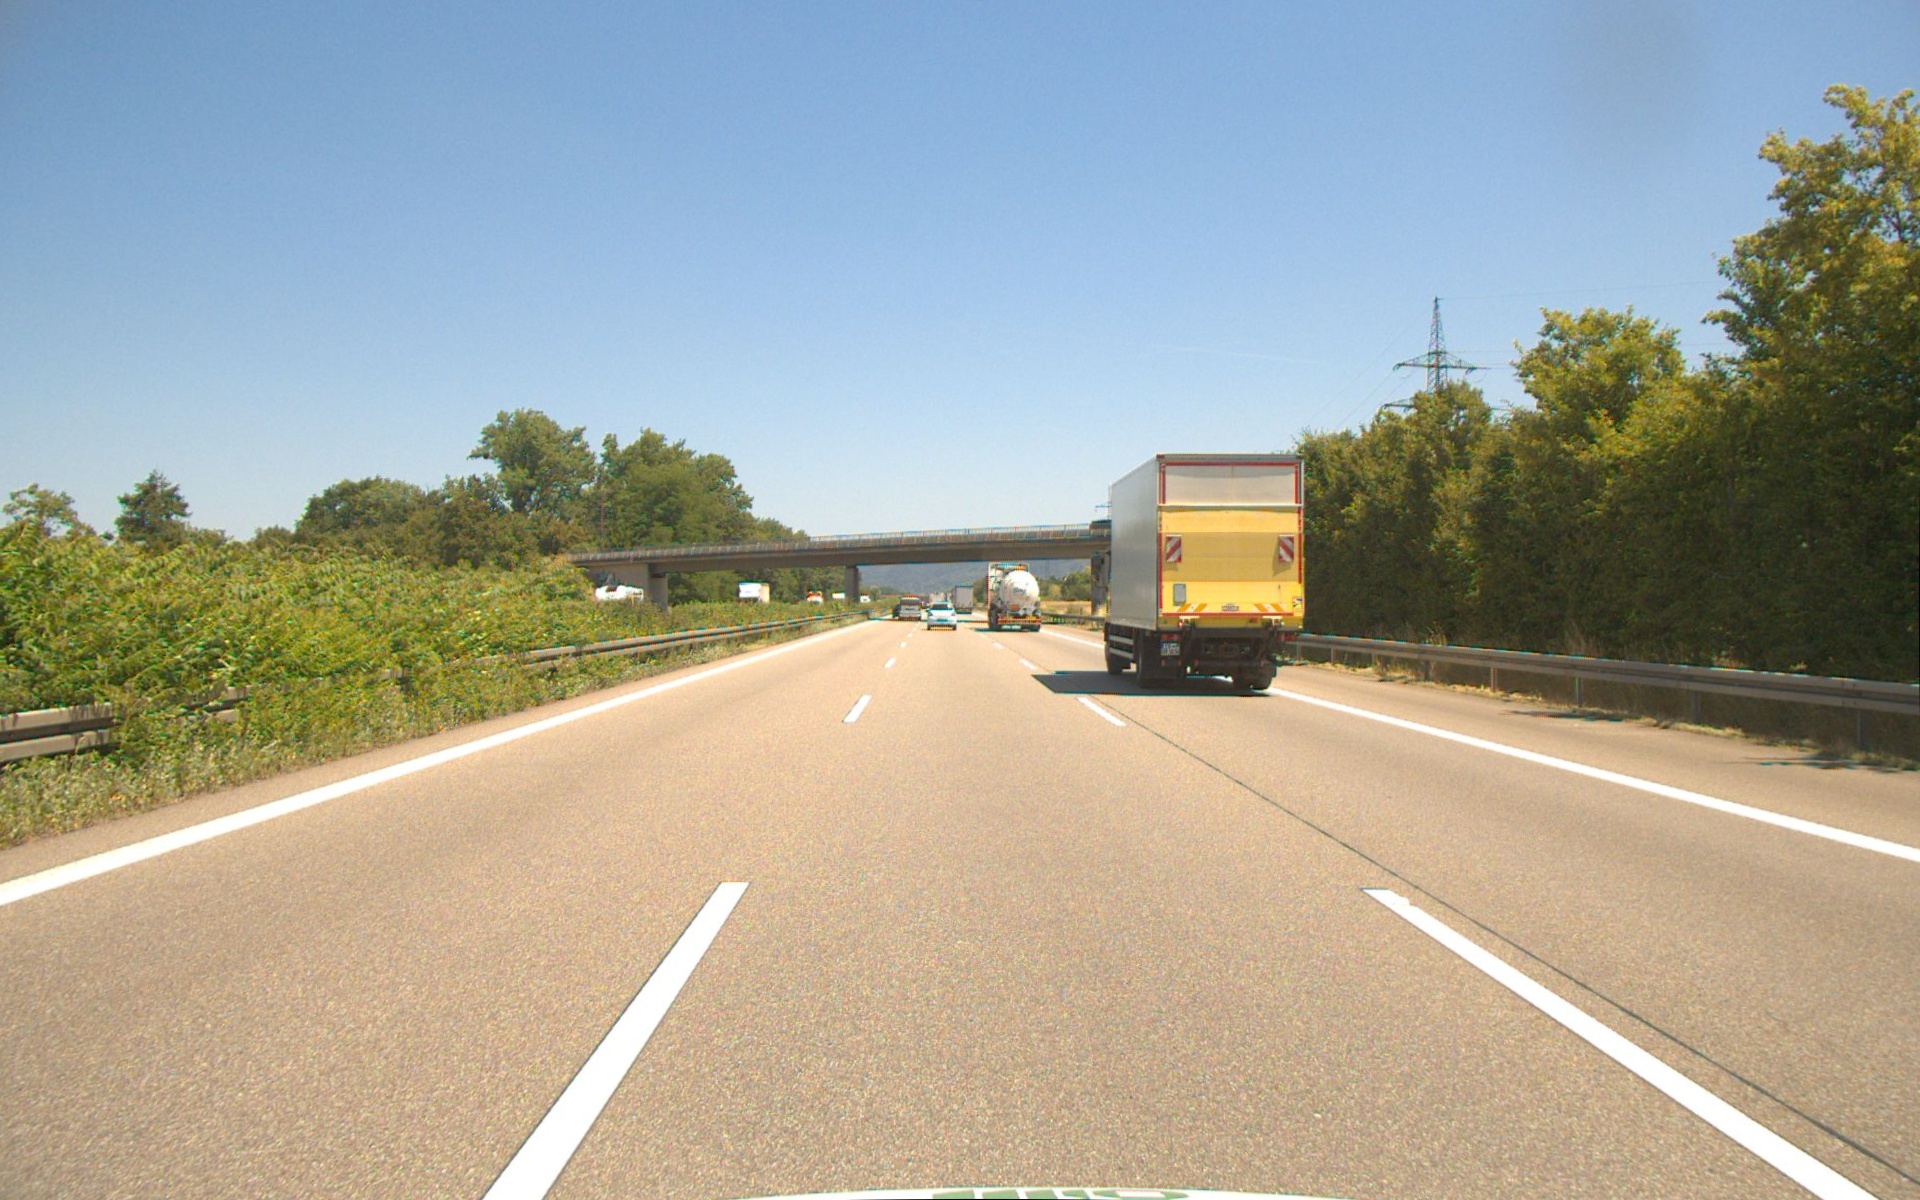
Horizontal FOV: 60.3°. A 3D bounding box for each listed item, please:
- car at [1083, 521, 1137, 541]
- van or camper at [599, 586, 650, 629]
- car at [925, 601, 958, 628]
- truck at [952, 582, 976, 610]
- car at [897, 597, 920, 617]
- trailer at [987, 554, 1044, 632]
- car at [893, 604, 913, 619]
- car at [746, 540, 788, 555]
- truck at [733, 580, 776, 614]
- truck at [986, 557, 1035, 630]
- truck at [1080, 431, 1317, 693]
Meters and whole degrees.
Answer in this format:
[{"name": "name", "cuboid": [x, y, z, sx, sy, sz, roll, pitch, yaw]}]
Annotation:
[{"name": "car", "cuboid": [11.775, -5.399, 129.940, 3.921, 1.411, 1.834, 1, 0, 37]}, {"name": "van or camper", "cuboid": [-21.121, 0.442, 104.314, 1.953, 2.589, 6.297, 1, 0, -1]}, {"name": "car", "cuboid": [-1.057, 0.809, 93.768, 1.770, 1.494, 3.999, 1, 0, -1]}, {"name": "truck", "cuboid": [0.582, -0.620, 244.233, 3.199, 3.925, 11.628, 1, 0, -1]}, {"name": "car", "cuboid": [-4.229, 0.569, 136.987, 1.814, 1.661, 3.999, 1, 0, -1]}, {"name": "trailer", "cuboid": [3.073, -0.361, 94.176, 2.528, 4.145, 11.100, 1, 0, -1]}, {"name": "car", "cuboid": [-5.524, 1.126, 160.712, 1.798, 1.411, 3.999, 1, 0, -1]}, {"name": "car", "cuboid": [-18.973, -5.117, 162.512, 3.917, 1.411, 1.836, 1, 0, 34]}, {"name": "truck", "cuboid": [-22.497, -0.354, 181.732, 2.817, 3.559, 10.738, 1, 0, 2]}, {"name": "truck", "cuboid": [2.977, -0.362, 98.834, 2.521, 4.143, 6.391, 1, 0, -1]}, {"name": "truck", "cuboid": [4.347, -0.631, 32.735, 2.874, 4.273, 10.678, 1, 0, -1]}]
